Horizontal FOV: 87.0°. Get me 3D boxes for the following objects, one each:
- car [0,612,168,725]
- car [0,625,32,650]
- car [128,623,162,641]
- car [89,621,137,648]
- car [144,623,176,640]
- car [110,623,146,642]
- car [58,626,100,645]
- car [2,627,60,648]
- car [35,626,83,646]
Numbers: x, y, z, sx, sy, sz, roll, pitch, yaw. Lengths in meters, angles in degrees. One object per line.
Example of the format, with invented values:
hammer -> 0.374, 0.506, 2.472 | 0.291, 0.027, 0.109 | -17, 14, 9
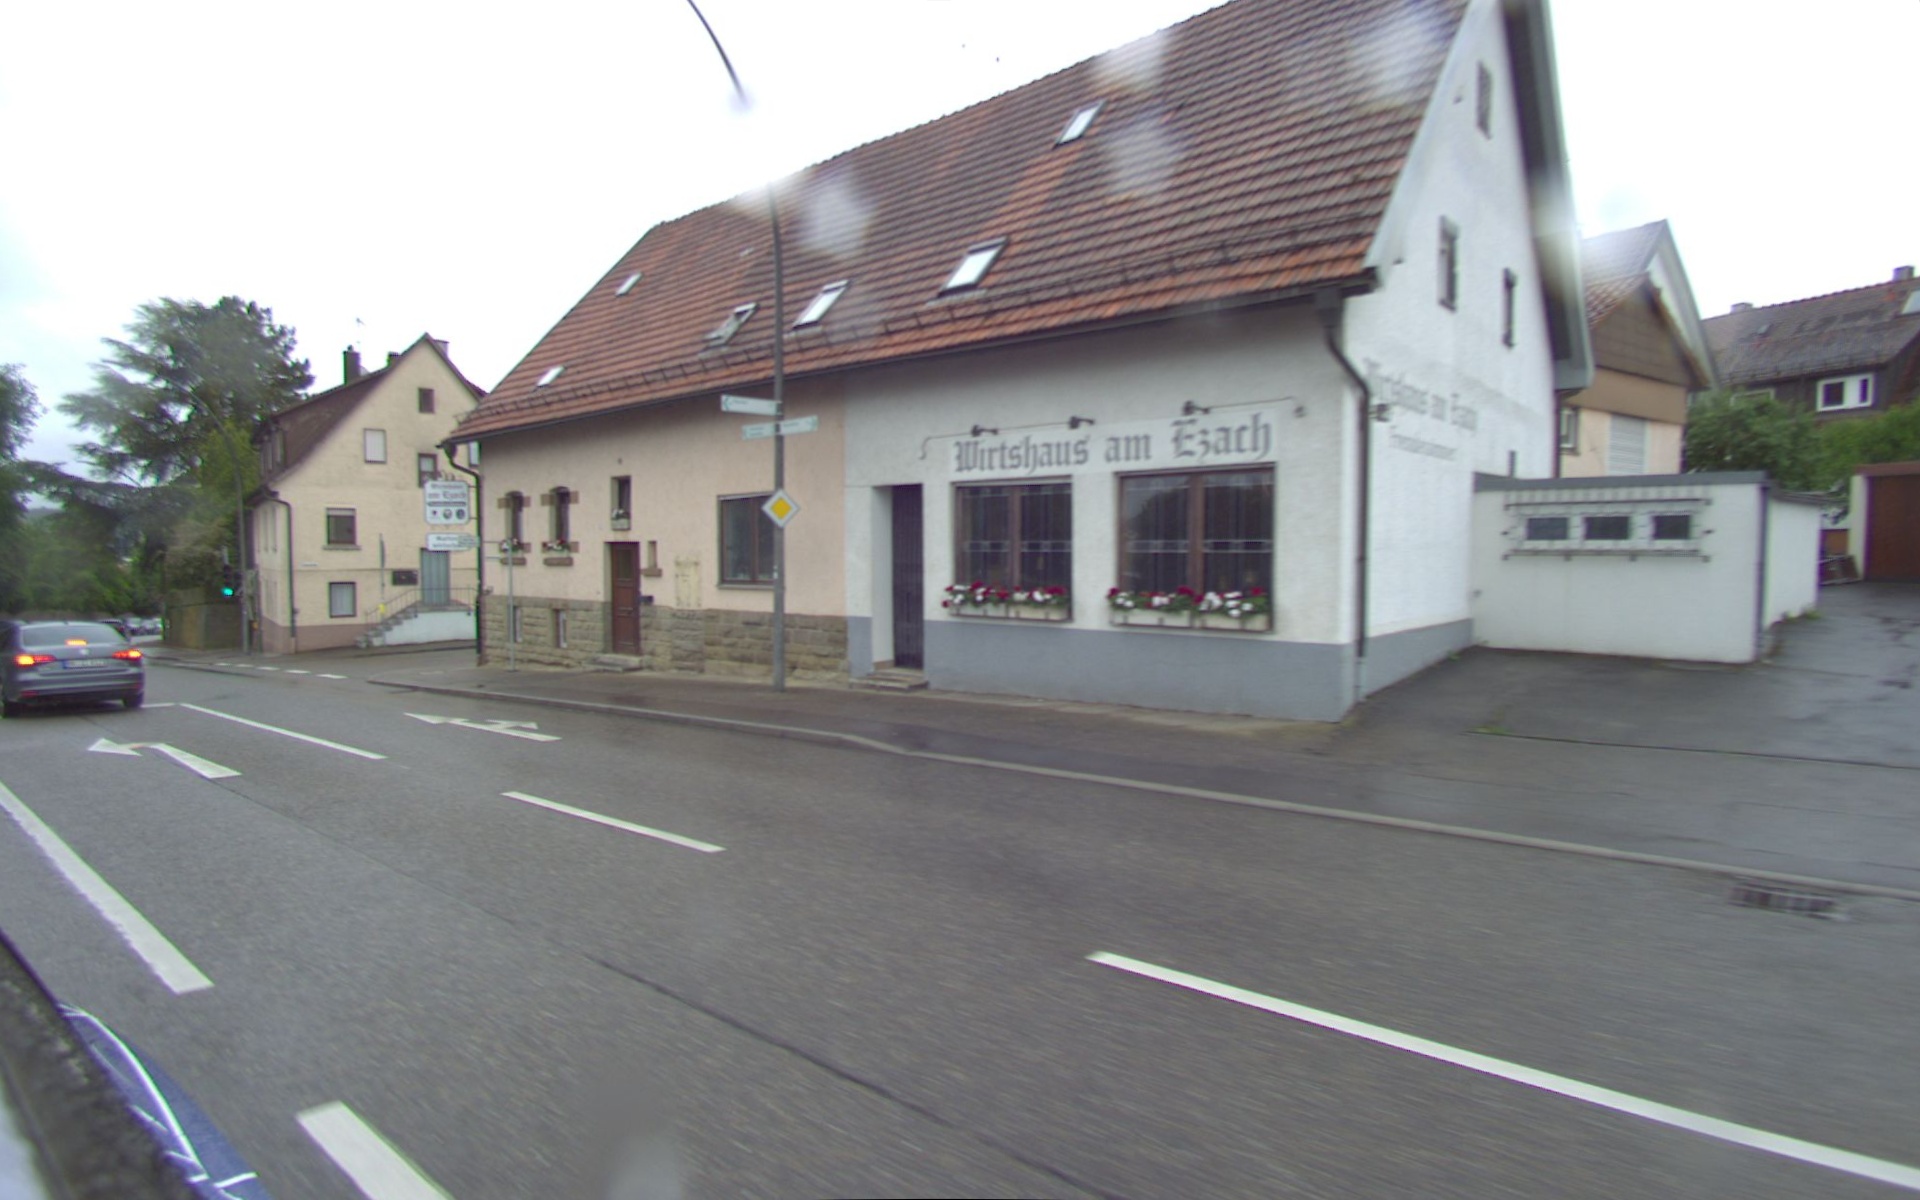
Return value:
car -> -14.838, 1.046, 16.655 | 4.221, 1.586, 1.925 | -2, -1, 39
car -> -62.266, 2.424, 65.928 | 1.765, 1.544, 3.812 | 0, -1, -29
car -> -79.637, 3.126, 98.958 | 1.803, 1.642, 4.166 | 0, -1, -27
car -> -57.679, 2.307, 68.982 | 1.966, 1.719, 4.011 | -1, -1, -32
car -> -82.623, 3.220, 104.537 | 1.803, 1.642, 4.166 | 0, -1, -27
car -> -76.748, 2.982, 93.406 | 1.803, 1.642, 4.166 | 0, -1, -29
car -> -70.348, 2.803, 80.818 | 1.735, 1.430, 4.166 | 0, -1, -30
car -> -65.023, 2.593, 70.895 | 1.966, 1.430, 4.498 | 0, -1, -29
car -> -67.750, 2.705, 76.142 | 1.735, 1.430, 4.166 | 0, -1, -28
